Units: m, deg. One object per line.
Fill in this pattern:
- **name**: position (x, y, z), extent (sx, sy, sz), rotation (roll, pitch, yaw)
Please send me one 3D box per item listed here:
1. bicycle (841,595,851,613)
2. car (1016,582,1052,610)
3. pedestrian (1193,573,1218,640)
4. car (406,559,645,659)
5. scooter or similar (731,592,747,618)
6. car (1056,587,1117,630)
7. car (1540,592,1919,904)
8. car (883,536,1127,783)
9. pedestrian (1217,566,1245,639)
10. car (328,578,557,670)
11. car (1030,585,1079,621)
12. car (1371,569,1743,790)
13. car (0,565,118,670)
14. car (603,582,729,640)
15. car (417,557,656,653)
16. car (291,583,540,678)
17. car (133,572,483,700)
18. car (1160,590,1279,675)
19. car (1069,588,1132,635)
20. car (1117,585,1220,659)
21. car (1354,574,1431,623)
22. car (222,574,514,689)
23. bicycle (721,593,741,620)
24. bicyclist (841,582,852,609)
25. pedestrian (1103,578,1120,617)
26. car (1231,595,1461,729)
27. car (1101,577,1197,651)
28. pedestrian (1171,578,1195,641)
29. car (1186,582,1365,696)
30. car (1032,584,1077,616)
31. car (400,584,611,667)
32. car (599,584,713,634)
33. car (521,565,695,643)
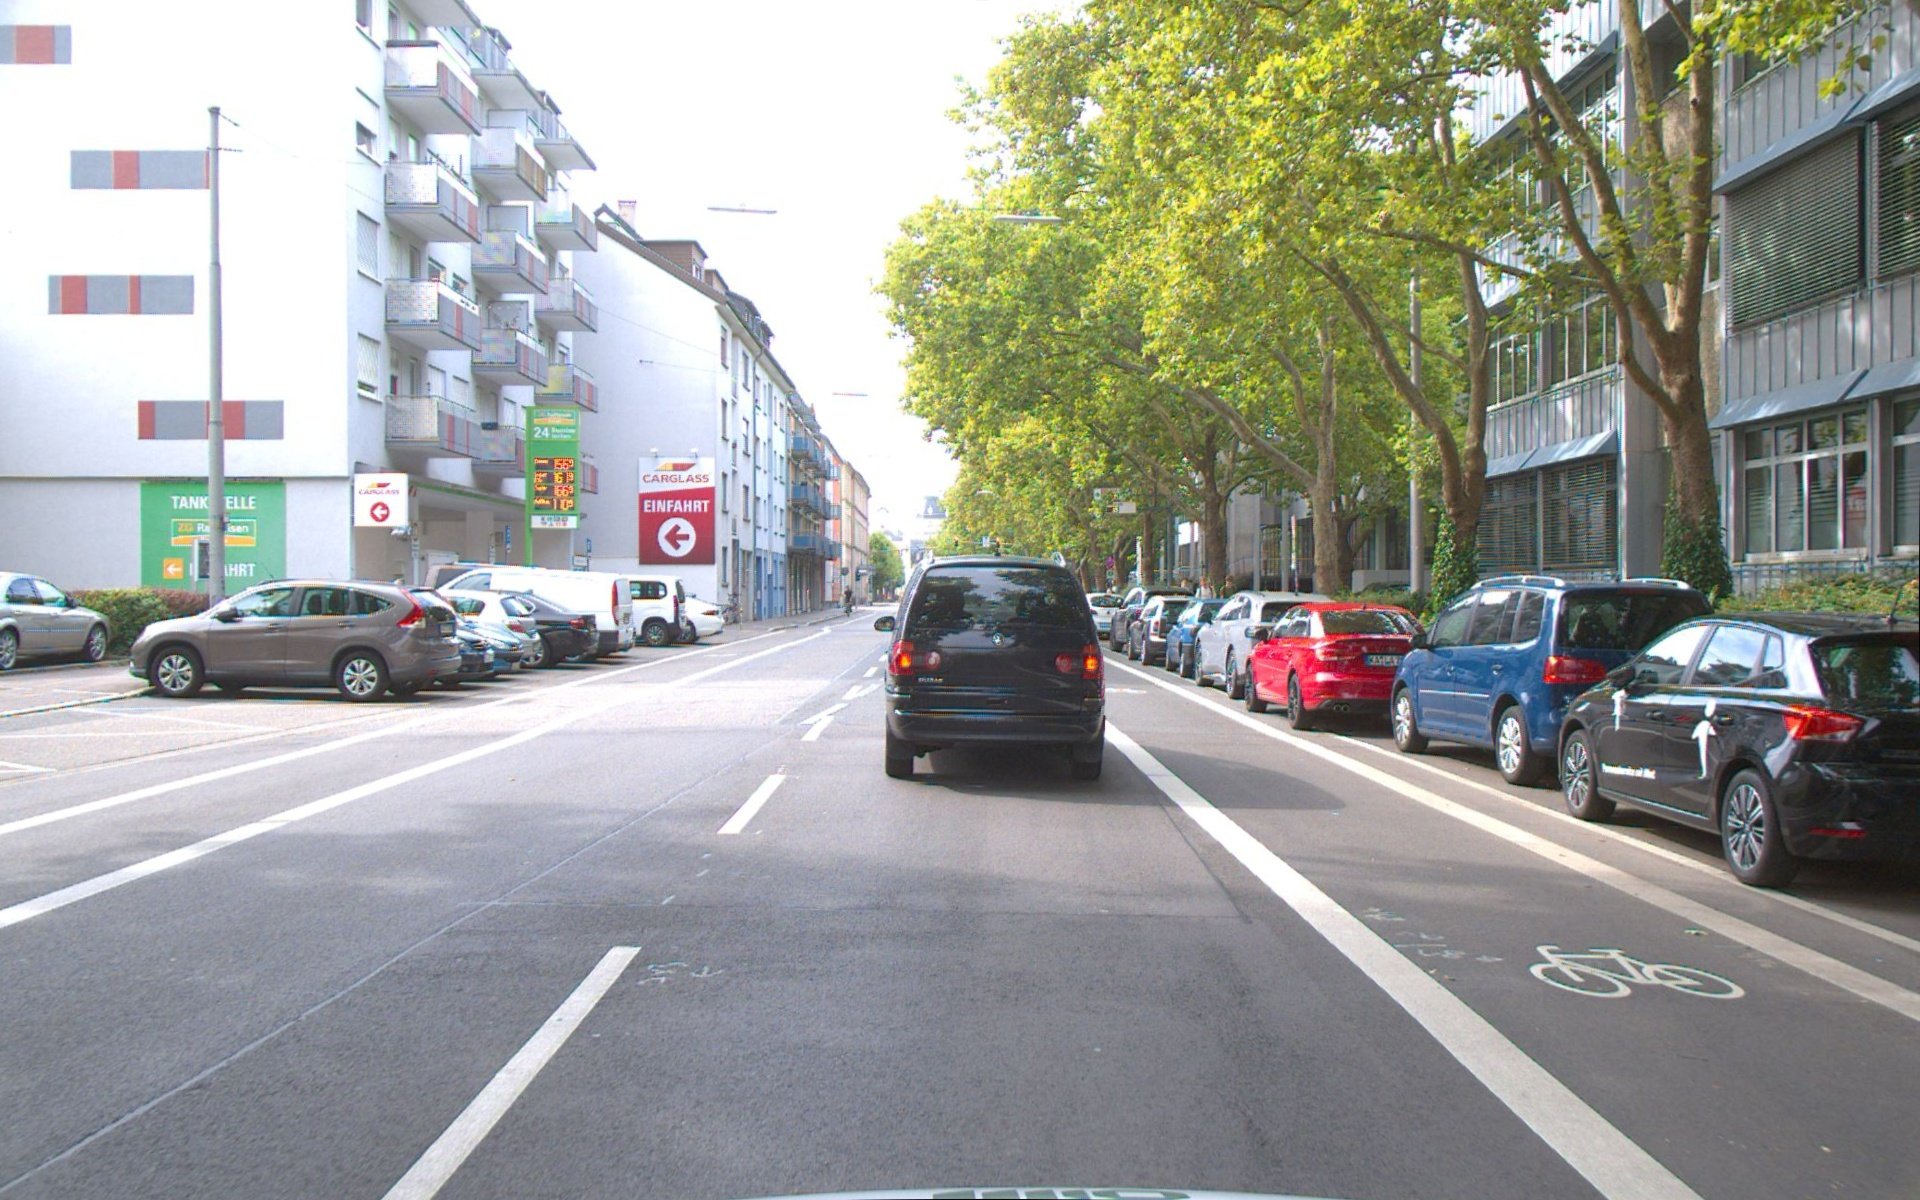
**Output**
- **bicycle**: position (-7.077, 0.247, 102.702), extent (0.618, 1.052, 2.014), rotation (1, -2, -3)
- **car**: position (4.032, -0.224, 90.379), extent (1.609, 1.513, 3.510), rotation (0, 1, -4)
- **pedestrian**: position (6.920, 0.180, 46.585), extent (0.575, 1.870, 0.692), rotation (1, 1, 1)
- **car**: position (-9.116, 0.175, 34.992), extent (4.433, 1.911, 2.047), rotation (2, 0, 0)
- **scooter or similar**: position (-9.084, 0.184, 68.029), extent (0.619, 1.052, 2.013), rotation (0, 1, -6)
- **car**: position (4.444, 0.288, 58.519), extent (1.609, 1.438, 3.413), rotation (2, 0, -4)
- **car**: position (4.980, 0.709, 10.007), extent (1.623, 1.447, 3.948), rotation (0, 1, 1)
- **car**: position (0.293, 0.440, 14.022), extent (1.775, 1.797, 3.737), rotation (1, 0, -1)
- **pedestrian**: position (7.605, 0.059, 46.450), extent (0.629, 2.009, 0.692), rotation (1, 1, 1)
- **car**: position (-9.423, 0.417, 30.296), extent (3.607, 1.511, 1.753), rotation (2, 1, -2)
- **car**: position (3.984, 0.105, 69.923), extent (1.609, 1.438, 3.413), rotation (2, 0, -4)
- **car**: position (5.144, 0.571, 14.927), extent (1.624, 1.679, 4.418), rotation (0, 1, -2)
- **car**: position (-15.089, 0.234, 25.809), extent (1.722, 1.545, 4.234), rotation (1, 1, 0)
- **car**: position (-8.250, 0.297, 46.596), extent (3.276, 1.523, 1.595), rotation (2, 0, -2)
- **car**: position (-9.521, 0.115, 37.483), extent (4.816, 1.936, 2.000), rotation (2, 0, -1)
- **car**: position (-9.186, 0.495, 28.105), extent (3.607, 1.451, 1.753), rotation (2, 1, -2)
- **car**: position (-9.199, 0.471, 23.592), extent (4.169, 1.633, 1.968), rotation (1, 2, 0)
- **car**: position (4.752, 0.557, 30.732), extent (1.588, 1.410, 4.000), rotation (3, 0, 1)
- **car**: position (4.554, 0.337, 54.126), extent (1.641, 1.418, 4.461), rotation (2, 0, 0)
- **car**: position (4.442, 0.443, 35.784), extent (1.597, 1.495, 4.316), rotation (0, 0, -1)
- **car**: position (14.125, -0.076, 54.165), extent (1.441, 1.484, 3.917), rotation (1, 2, 0)
- **car**: position (-9.185, 0.468, 25.858), extent (3.859, 1.597, 1.754), rotation (2, 1, 2)
- **bicycle**: position (-9.058, 0.247, 65.427), extent (0.618, 1.052, 2.014), rotation (1, 0, -4)
- **bicyclist**: position (-7.084, -0.250, 102.833), extent (0.640, 1.639, 0.655), rotation (1, -3, -3)
- **pedestrian**: position (7.322, -0.138, 79.819), extent (0.751, 1.863, 0.516), rotation (0, 0, 0)
- **car**: position (4.517, 0.661, 19.998), extent (1.642, 1.418, 4.460), rotation (0, 0, -1)
- **car**: position (4.622, 0.310, 40.963), extent (1.635, 1.669, 4.502), rotation (2, 0, -2)
- **pedestrian**: position (6.283, 0.255, 46.528), extent (0.575, 1.731, 0.508), rotation (1, 1, 0)
- **car**: position (4.694, 0.540, 25.279), extent (1.693, 1.543, 4.870), rotation (1, 0, -1)
- **car**: position (4.277, -0.009, 75.117), extent (1.609, 1.419, 3.510), rotation (0, 1, -4)
- **car**: position (-8.844, 0.476, 32.389), extent (3.607, 1.470, 1.753), rotation (2, 1, -1)
- **car**: position (-9.412, 0.272, 51.385), extent (3.276, 1.426, 1.503), rotation (2, 0, -2)
- **car**: position (-9.378, 0.102, 44.275), extent (4.220, 1.902, 1.823), rotation (2, 0, -2)
